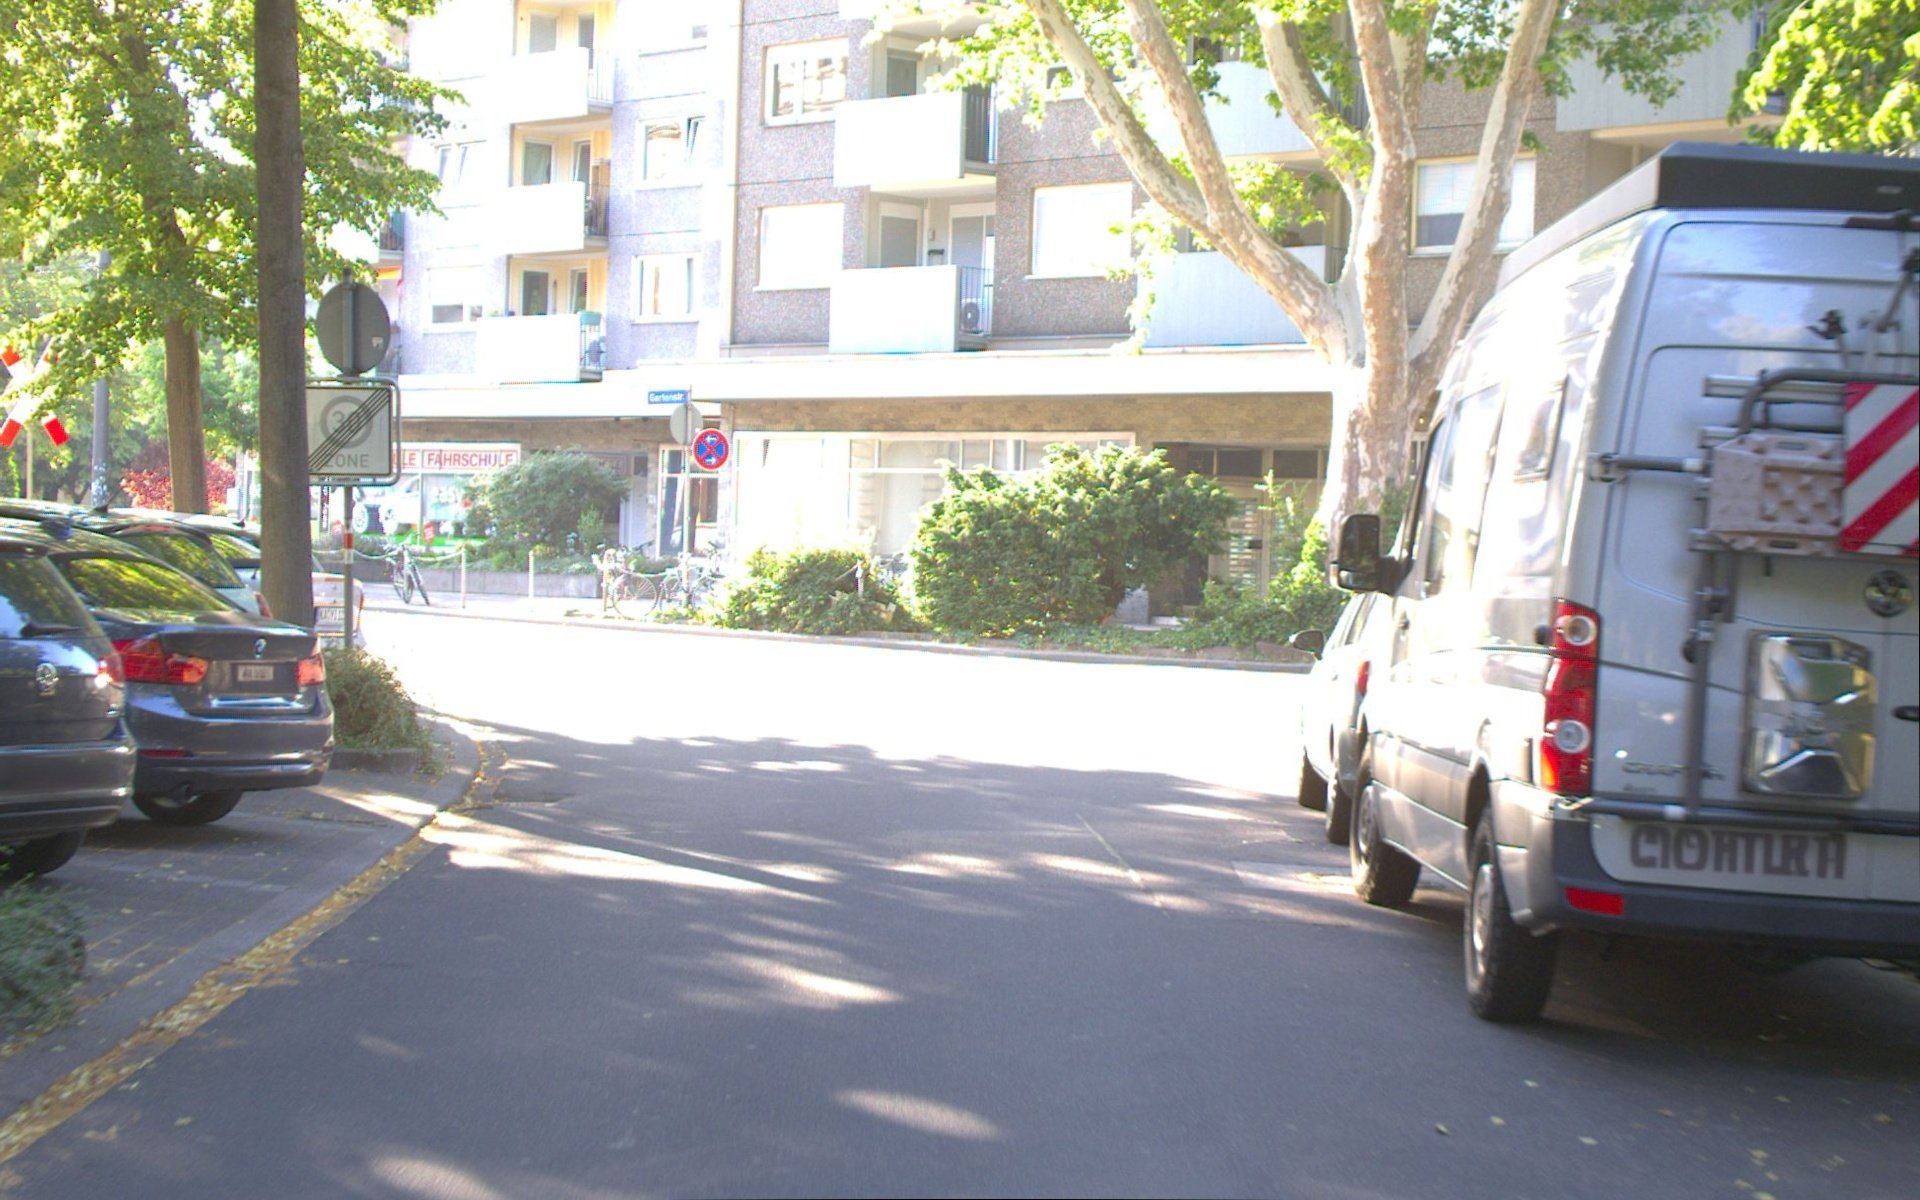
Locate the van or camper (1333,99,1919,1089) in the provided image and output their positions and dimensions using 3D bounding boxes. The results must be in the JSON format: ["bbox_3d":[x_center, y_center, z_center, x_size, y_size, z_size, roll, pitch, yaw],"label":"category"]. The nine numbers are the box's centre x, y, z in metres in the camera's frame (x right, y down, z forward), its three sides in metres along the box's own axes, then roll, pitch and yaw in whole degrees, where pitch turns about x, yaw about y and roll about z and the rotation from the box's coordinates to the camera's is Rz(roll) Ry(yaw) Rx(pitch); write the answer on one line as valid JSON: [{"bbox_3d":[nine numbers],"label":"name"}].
[{"bbox_3d":[2.711,-0.068,12.588,2.084,2.753,5.845,2,1,1],"label":"van or camper"}]

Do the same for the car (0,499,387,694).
[{"bbox_3d":[-6.940,-0.078,28.079,4.029,1.401,1.773,3,1,13],"label":"car"}]

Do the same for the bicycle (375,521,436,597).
[{"bbox_3d":[-9.259,-0.695,57.346,0.638,1.222,2.089,1,1,-19],"label":"bicycle"}]

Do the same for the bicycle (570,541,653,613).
[{"bbox_3d":[-5.192,-0.350,51.127,0.638,1.019,2.089,1,1,-23],"label":"bicycle"}]

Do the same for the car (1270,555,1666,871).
[{"bbox_3d":[2.726,0.543,19.217,1.680,1.441,3.872,4,1,2],"label":"car"}]

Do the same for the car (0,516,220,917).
[{"bbox_3d":[-5.117,0.294,13.580,3.865,1.434,1.829,5,1,24],"label":"car"}]

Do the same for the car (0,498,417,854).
[{"bbox_3d":[-4.924,0.221,16.419,4.192,1.434,1.829,5,1,24],"label":"car"}]

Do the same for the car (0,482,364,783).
[{"bbox_3d":[-5.584,0.074,19.598,3.877,1.488,1.829,5,1,25],"label":"car"}]

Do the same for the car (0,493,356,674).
[{"bbox_3d":[-7.787,-0.198,30.784,4.283,1.424,1.773,3,1,15],"label":"car"}]

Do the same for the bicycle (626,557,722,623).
[{"bbox_3d":[-4.120,-0.148,49.442,0.542,0.901,1.736,0,2,-36],"label":"bicycle"}]

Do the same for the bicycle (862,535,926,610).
[{"bbox_3d":[-0.944,-0.390,48.746,0.348,1.034,1.052,0,2,-36],"label":"bicycle"}]

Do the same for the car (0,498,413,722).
[{"bbox_3d":[-6.263,0.008,25.263,3.975,1.360,1.773,5,1,14],"label":"car"}]
